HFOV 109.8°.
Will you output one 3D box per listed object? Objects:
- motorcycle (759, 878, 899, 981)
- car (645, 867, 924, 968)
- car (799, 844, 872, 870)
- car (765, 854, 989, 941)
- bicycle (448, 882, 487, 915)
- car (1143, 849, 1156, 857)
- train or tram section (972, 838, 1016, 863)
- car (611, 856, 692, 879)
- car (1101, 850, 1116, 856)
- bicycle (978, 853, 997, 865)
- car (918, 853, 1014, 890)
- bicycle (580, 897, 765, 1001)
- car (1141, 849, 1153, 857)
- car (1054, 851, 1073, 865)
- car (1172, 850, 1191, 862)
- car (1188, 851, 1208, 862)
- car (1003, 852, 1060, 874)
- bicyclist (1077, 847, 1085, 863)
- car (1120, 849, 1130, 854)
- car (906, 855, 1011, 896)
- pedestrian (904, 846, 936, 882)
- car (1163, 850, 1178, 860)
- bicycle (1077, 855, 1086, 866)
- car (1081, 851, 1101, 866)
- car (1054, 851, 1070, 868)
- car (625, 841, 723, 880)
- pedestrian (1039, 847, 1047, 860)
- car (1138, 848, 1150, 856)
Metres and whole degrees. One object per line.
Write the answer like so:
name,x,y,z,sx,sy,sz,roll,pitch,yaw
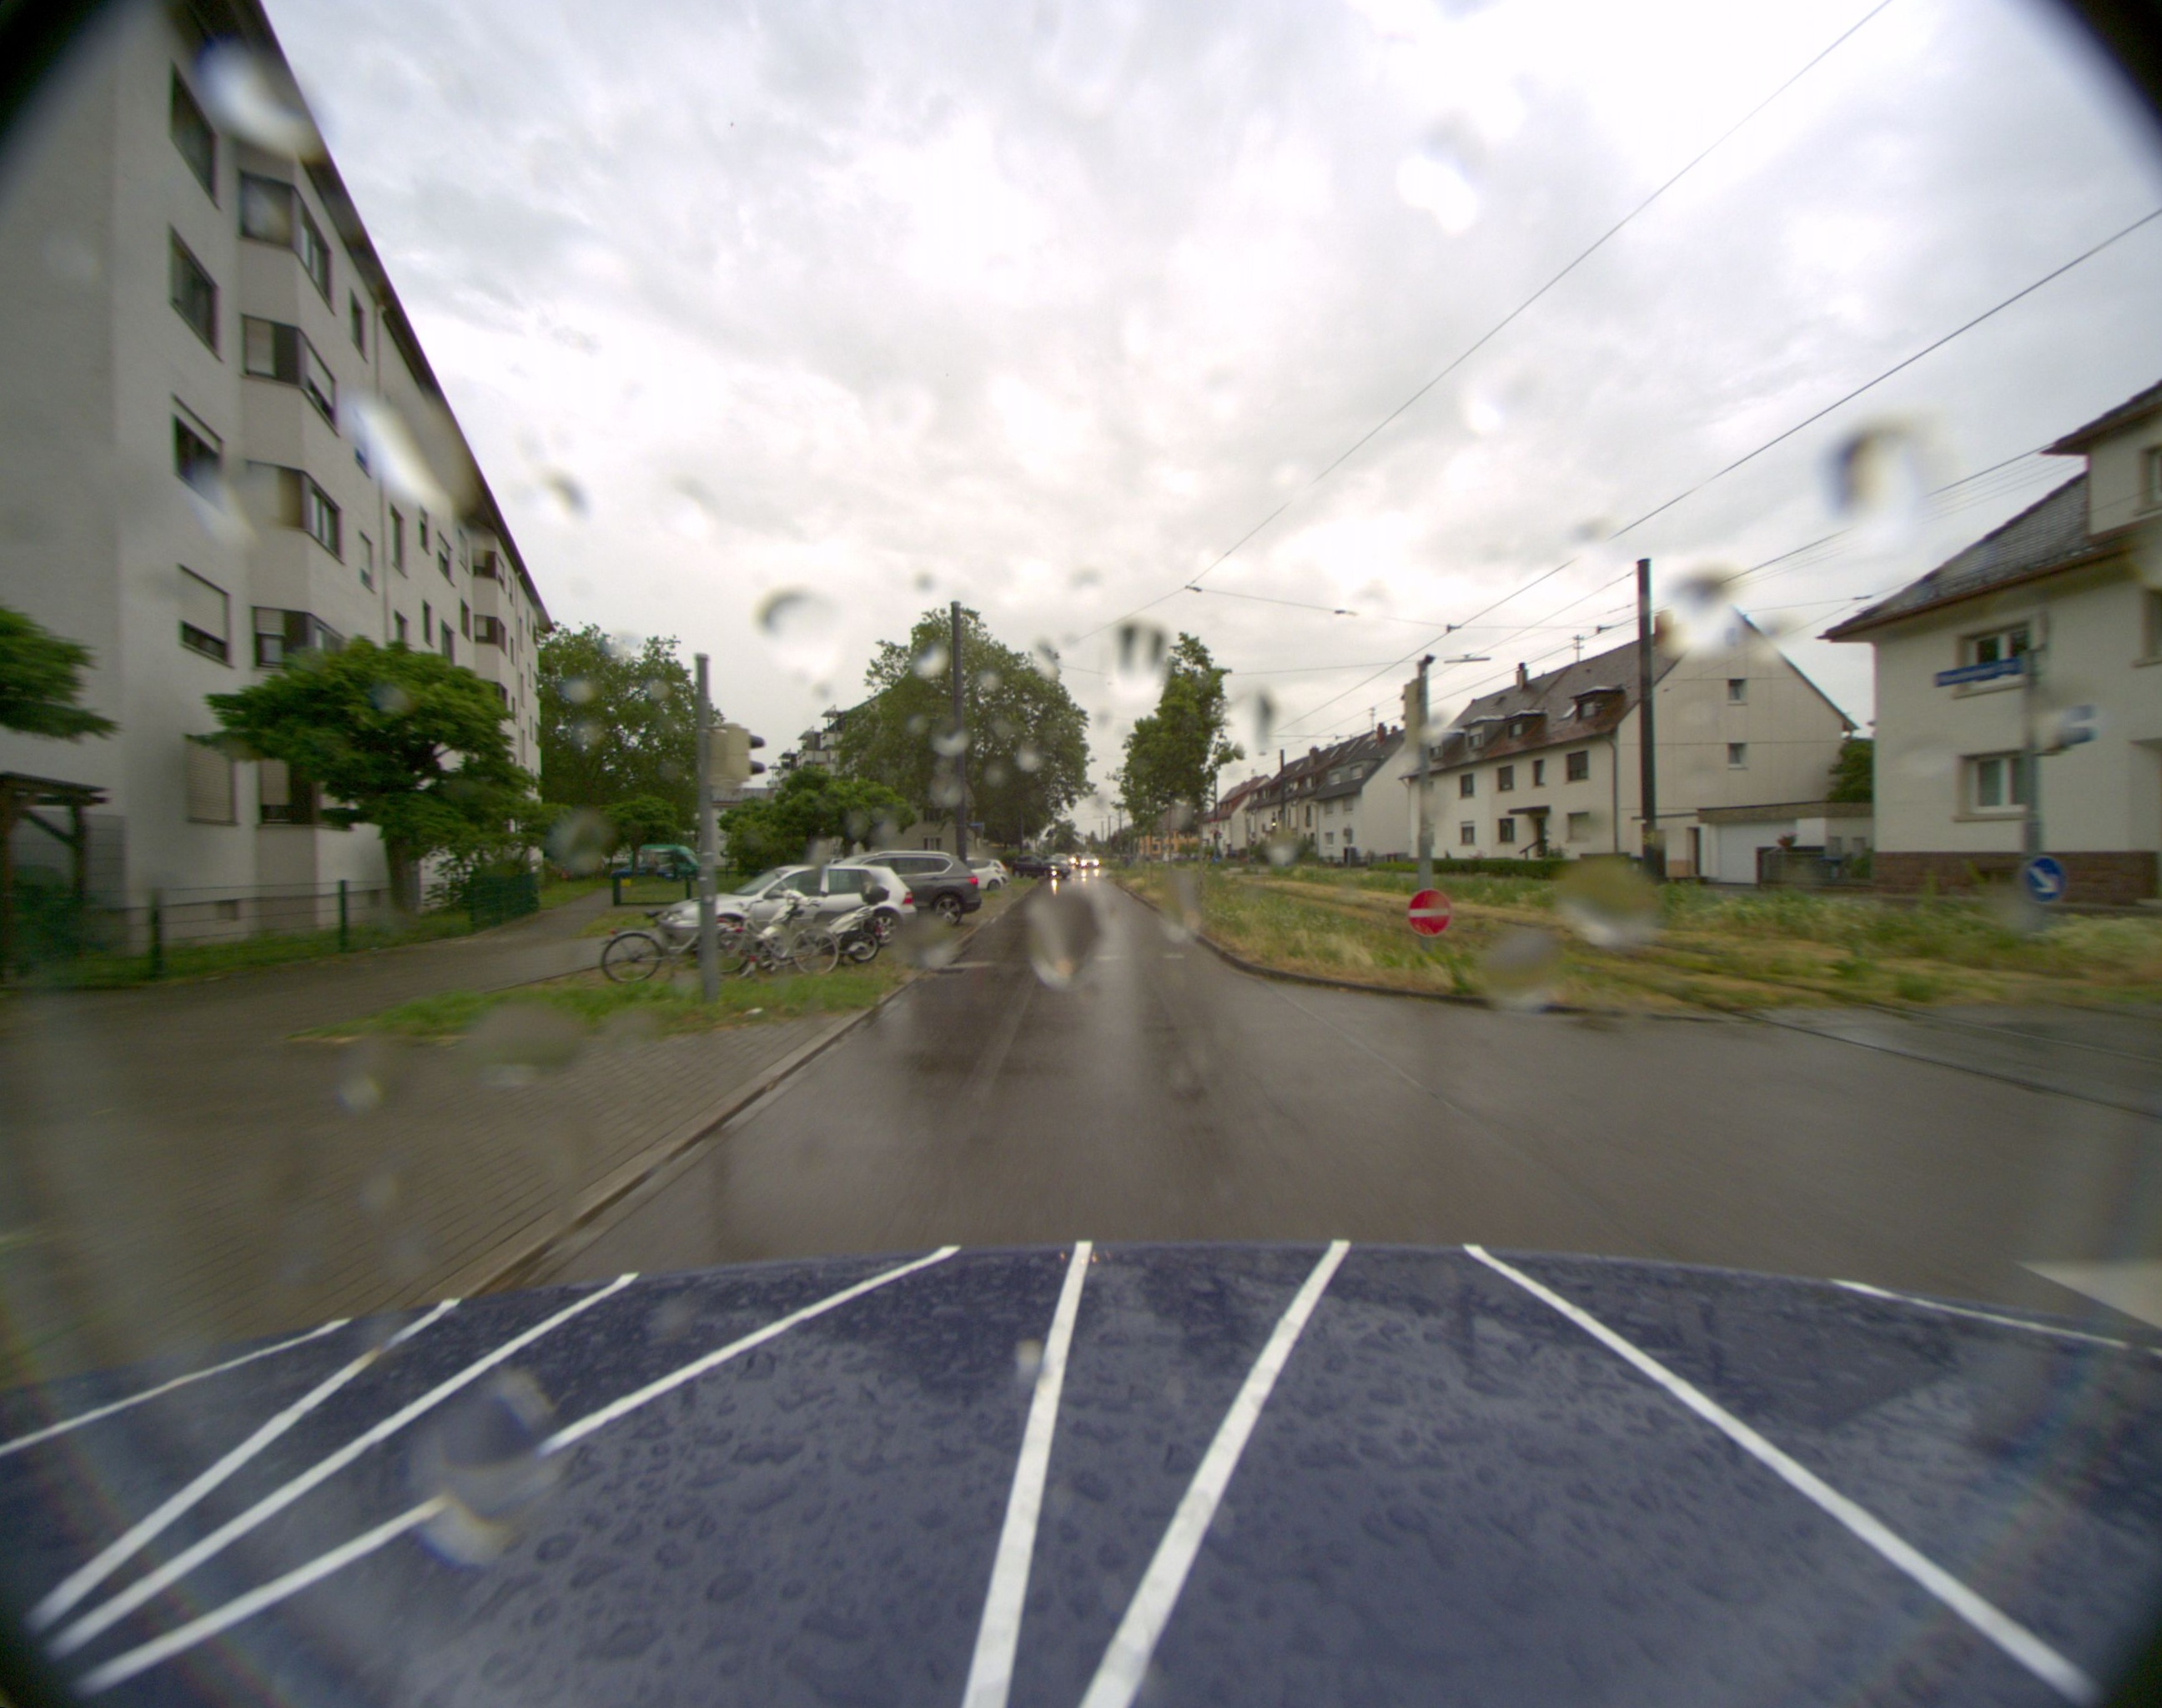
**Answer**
motorcycle,-3.589,1.031,10.909,1.783,1.329,0.687,0,0,-36
car,-4.961,0.955,12.954,4.133,1.414,1.734,0,0,-36
car,-16.602,0.200,51.549,4.303,1.671,1.871,0,1,2
car,-4.405,0.834,16.612,4.357,1.641,1.853,-1,0,-32
bicycle,-17.669,1.262,21.909,0.491,0.843,1.568,-1,1,-25
car,13.088,-0.156,145.516,1.912,1.581,3.999,0,0,-2
train or tram section,-12.180,-0.511,106.022,6.382,3.320,2.763,0,1,45
car,-28.961,0.876,51.317,4.303,1.497,1.937,0,1,2
car,7.648,-0.399,210.807,3.999,1.638,1.893,0,1,-5
bicycle,-9.602,0.499,78.160,1.864,1.135,0.532,-1,0,-26
car,-5.284,0.769,35.067,4.007,1.500,1.779,-1,2,-36
bicycle,-5.104,1.137,9.613,0.627,1.095,1.961,0,0,45
car,13.002,-0.134,150.196,1.882,1.520,3.999,0,0,-2
car,-1.975,0.406,84.407,1.905,1.566,4.110,0,0,-3
car,14.069,0.265,106.646,1.892,1.523,4.755,0,0,-3
car,14.459,0.285,93.775,1.777,1.418,3.936,0,0,-1
car,-3.677,0.686,57.099,1.850,1.500,4.128,-1,1,40
bicyclist,0.035,0.080,70.687,0.711,1.504,0.715,0,1,-2
car,11.226,-0.616,192.025,2.097,1.423,4.076,0,0,-3
car,-5.086,0.852,31.865,4.008,1.500,1.700,-1,3,-39
pedestrian,-8.197,0.517,38.840,1.101,1.803,1.434,-1,1,10
car,13.850,0.118,117.822,1.715,1.432,3.999,0,0,-3
bicycle,0.041,0.575,70.782,0.711,1.031,2.098,-1,0,-2
car,1.056,0.417,79.899,1.854,1.500,4.119,0,0,-3
car,-1.864,0.517,73.456,1.562,1.510,3.999,0,0,-2
car,-30.388,0.465,56.886,6.133,2.762,2.187,-1,1,2
pedestrian,-5.290,-0.021,105.004,0.866,1.764,1.017,-1,1,-21
car,13.174,-0.405,159.057,1.998,1.648,3.999,-2,1,0
